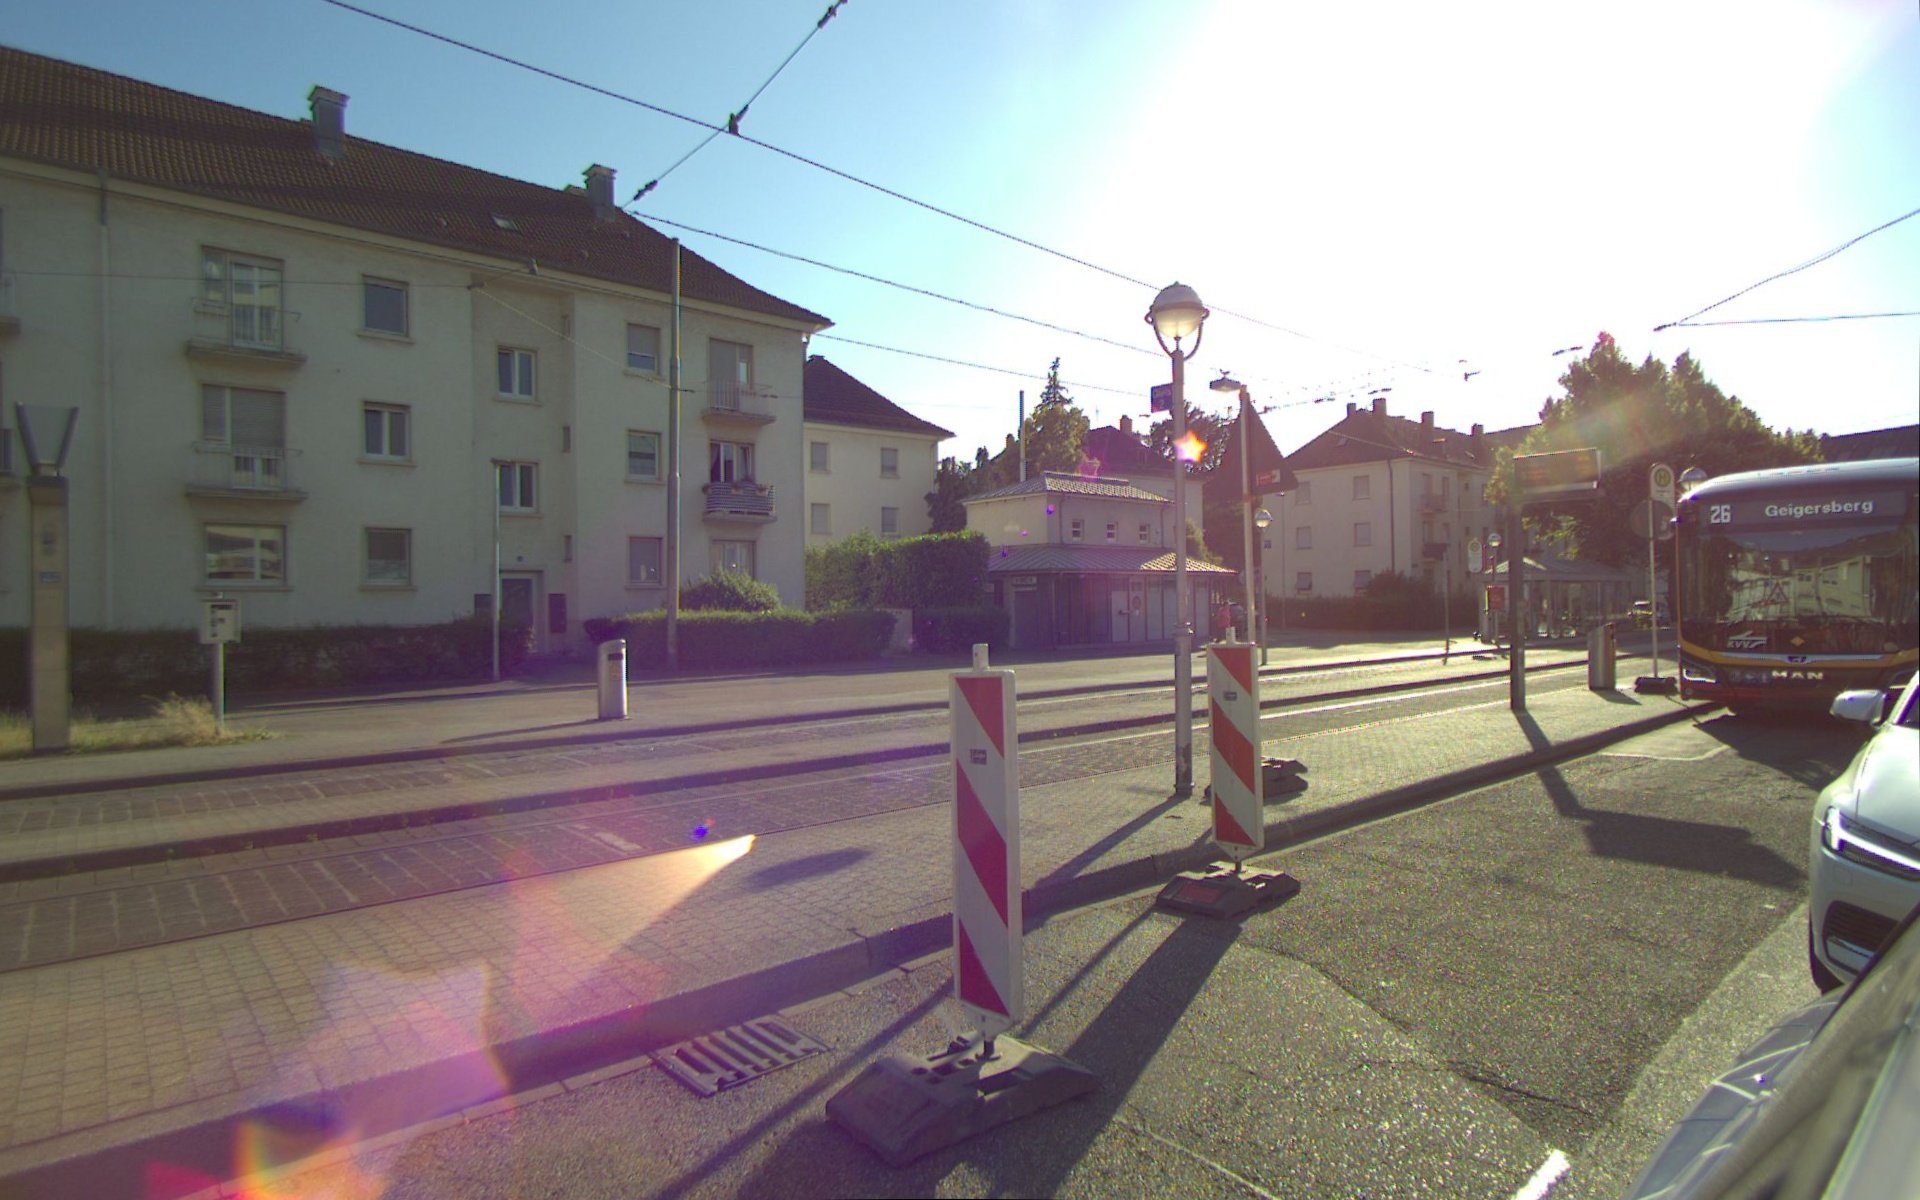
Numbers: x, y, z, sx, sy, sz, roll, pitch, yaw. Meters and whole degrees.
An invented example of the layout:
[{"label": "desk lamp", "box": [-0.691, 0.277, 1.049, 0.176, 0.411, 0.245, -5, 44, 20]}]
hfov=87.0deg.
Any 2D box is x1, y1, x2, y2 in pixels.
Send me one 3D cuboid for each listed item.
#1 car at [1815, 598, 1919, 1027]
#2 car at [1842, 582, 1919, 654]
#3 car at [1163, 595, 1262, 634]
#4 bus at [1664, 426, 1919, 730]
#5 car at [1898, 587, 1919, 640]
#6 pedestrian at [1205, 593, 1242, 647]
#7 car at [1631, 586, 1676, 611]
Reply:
[{"label": "car", "box": [5.280, 0.732, 4.367, 4.143, 1.472, 1.819, 0, 0, -41]}, {"label": "car", "box": [21.231, 0.359, 22.374, 4.740, 1.477, 1.968, 0, 0, -41]}, {"label": "car", "box": [11.589, 0.683, 46.677, 1.964, 1.694, 4.050, -1, -1, -39]}, {"label": "bus", "box": [14.323, -0.264, 15.856, 11.824, 3.345, 2.745, 0, 0, -42]}, {"label": "car", "box": [28.790, 0.368, 29.240, 4.740, 1.477, 1.968, 0, 0, -41]}, {"label": "pedestrian", "box": [8.570, 0.632, 32.976, 0.810, 1.740, 0.842, 0, 0, -36]}, {"label": "car", "box": [53.781, -0.112, 78.448, 3.930, 1.887, 1.997, -1, 0, -41]}]
